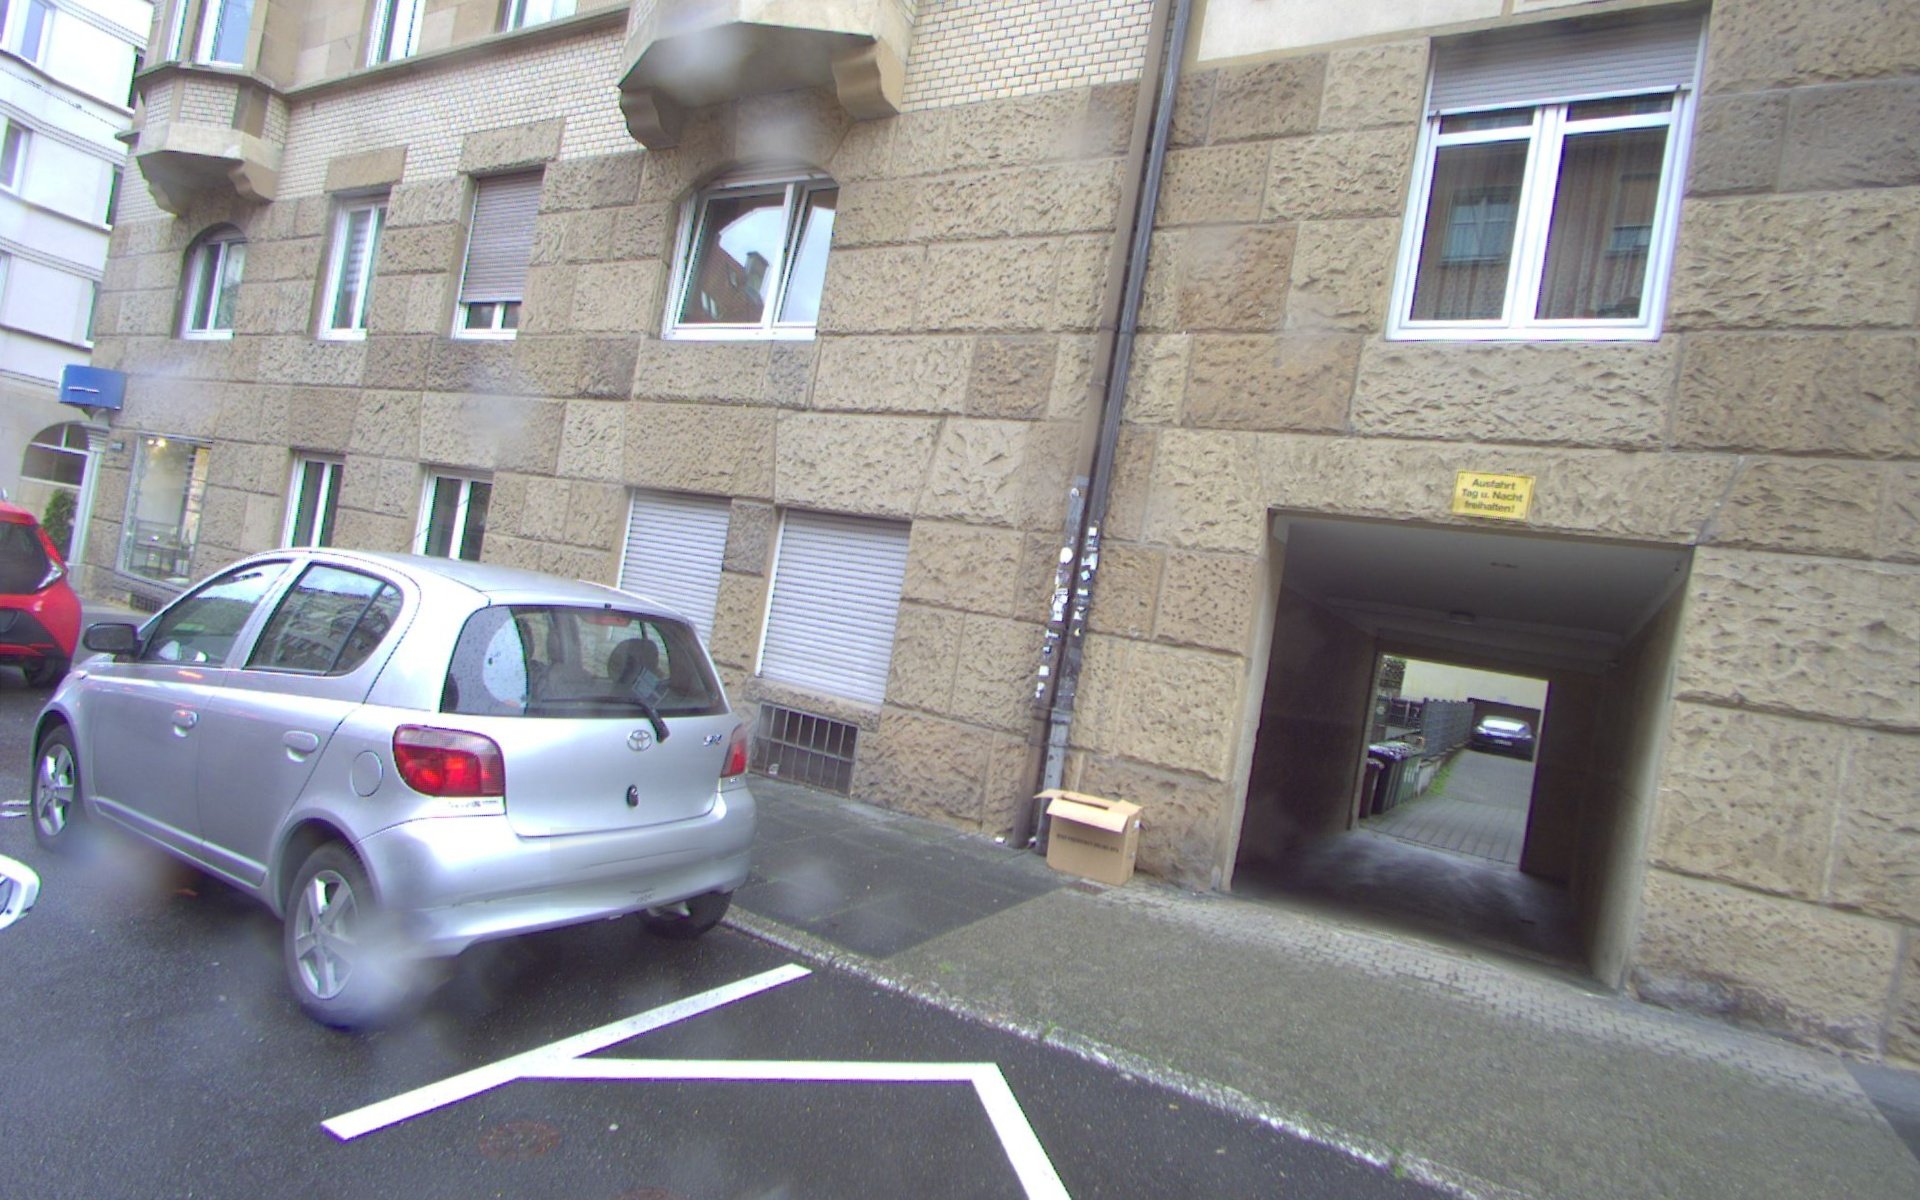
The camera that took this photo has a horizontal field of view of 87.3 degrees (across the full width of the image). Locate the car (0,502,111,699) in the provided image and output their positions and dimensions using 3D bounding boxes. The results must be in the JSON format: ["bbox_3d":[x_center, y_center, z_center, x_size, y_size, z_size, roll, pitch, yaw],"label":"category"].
[{"bbox_3d":[-8.716,-0.186,8.166,3.243,1.464,1.646,7,-2,29],"label":"car"}]

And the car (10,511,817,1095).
[{"bbox_3d":[-2.467,0.560,4.389,3.258,1.485,1.616,7,0,33],"label":"car"}]

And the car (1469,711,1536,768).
[{"bbox_3d":[18.357,4.694,33.933,1.693,1.538,4.102,7,-3,31],"label":"car"}]

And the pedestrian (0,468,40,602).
[{"bbox_3d":[-13.406,-0.933,13.796,1.093,1.768,0.743,6,-1,32],"label":"pedestrian"}]
